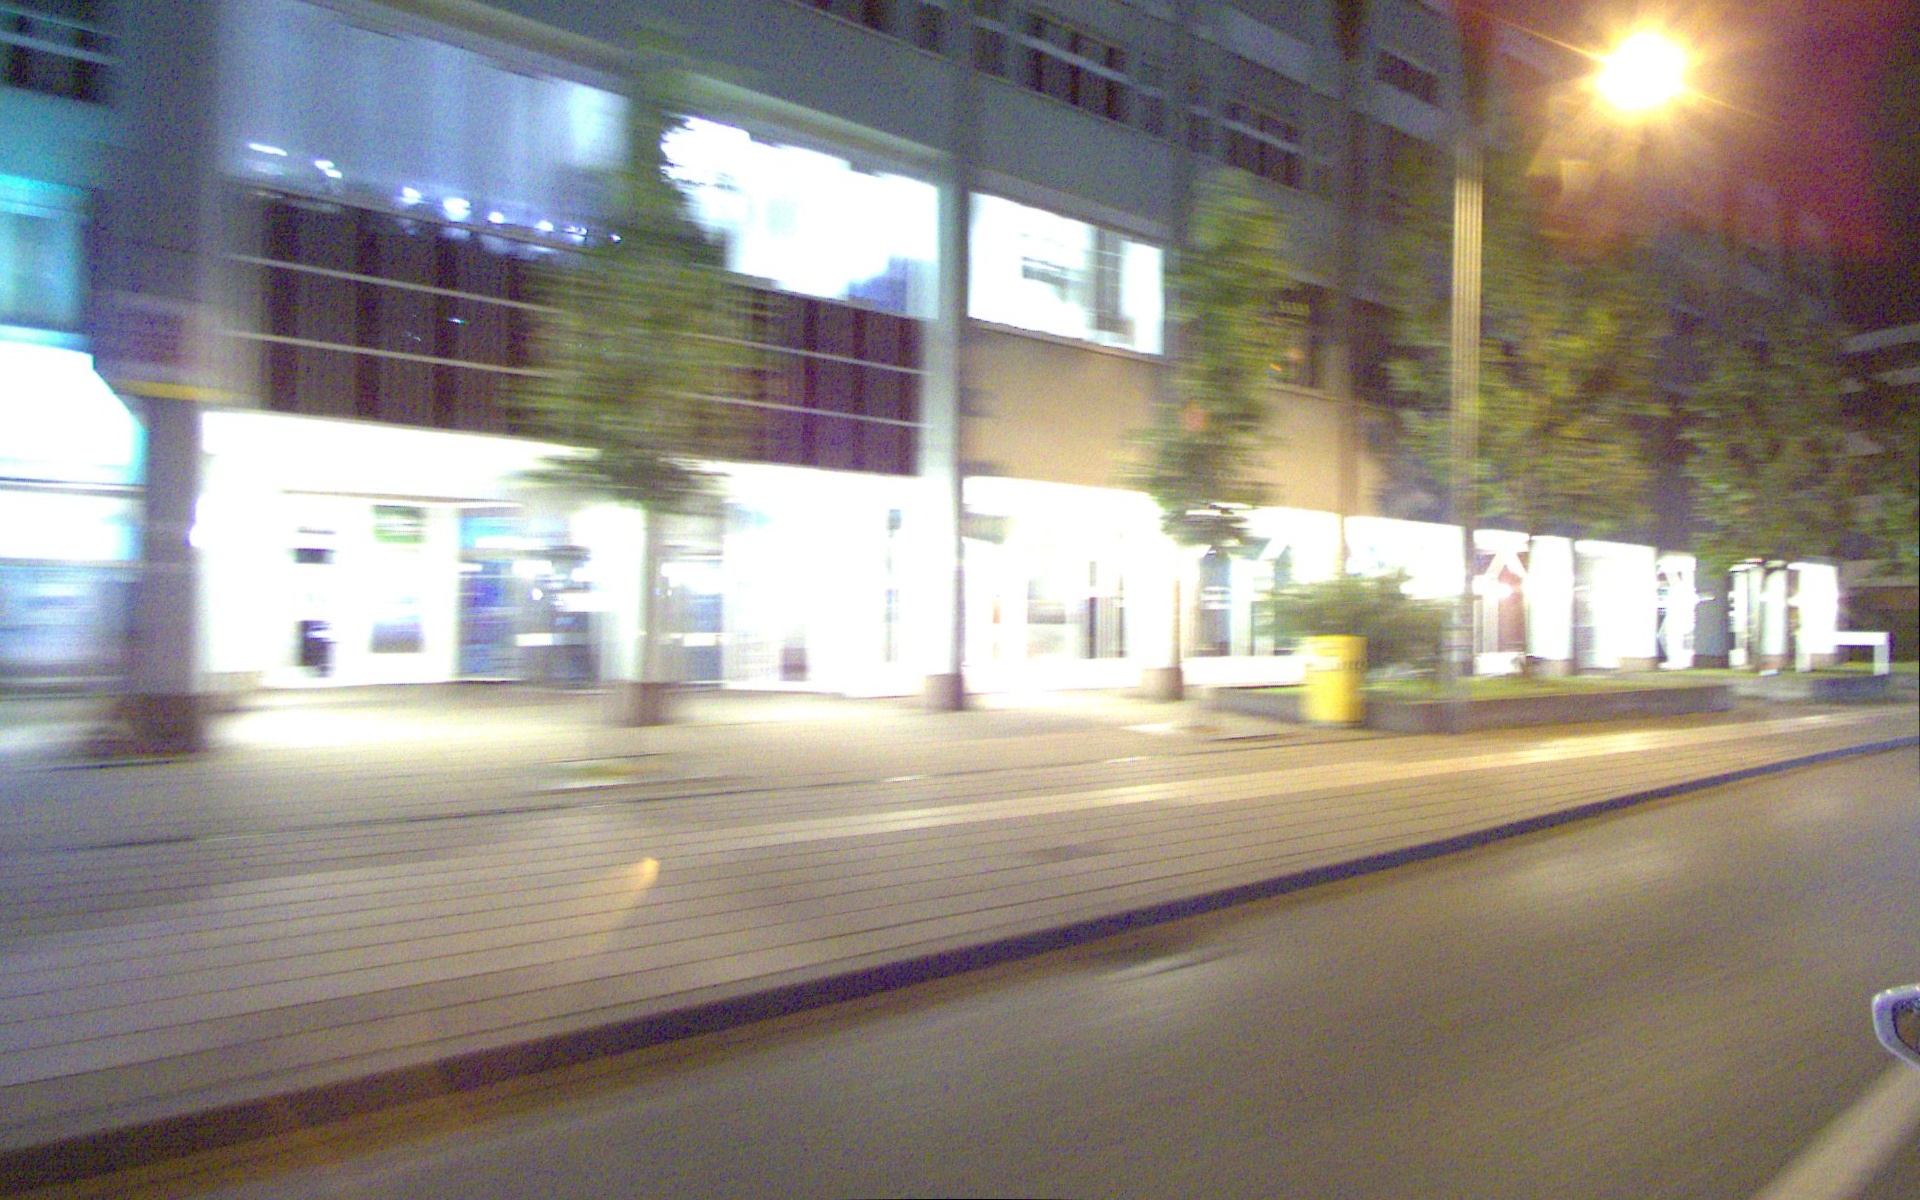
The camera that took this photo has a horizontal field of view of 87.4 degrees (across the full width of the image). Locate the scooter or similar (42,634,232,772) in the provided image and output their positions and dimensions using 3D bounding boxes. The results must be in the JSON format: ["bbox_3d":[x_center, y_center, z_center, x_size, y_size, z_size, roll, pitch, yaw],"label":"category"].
[{"bbox_3d":[-7.760,0.943,9.531,1.328,1.237,0.385,1,-2,-31],"label":"scooter or similar"}]

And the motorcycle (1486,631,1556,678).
[{"bbox_3d":[12.824,1.242,22.957,1.651,1.034,0.477,1,-1,-23],"label":"motorcycle"}]
